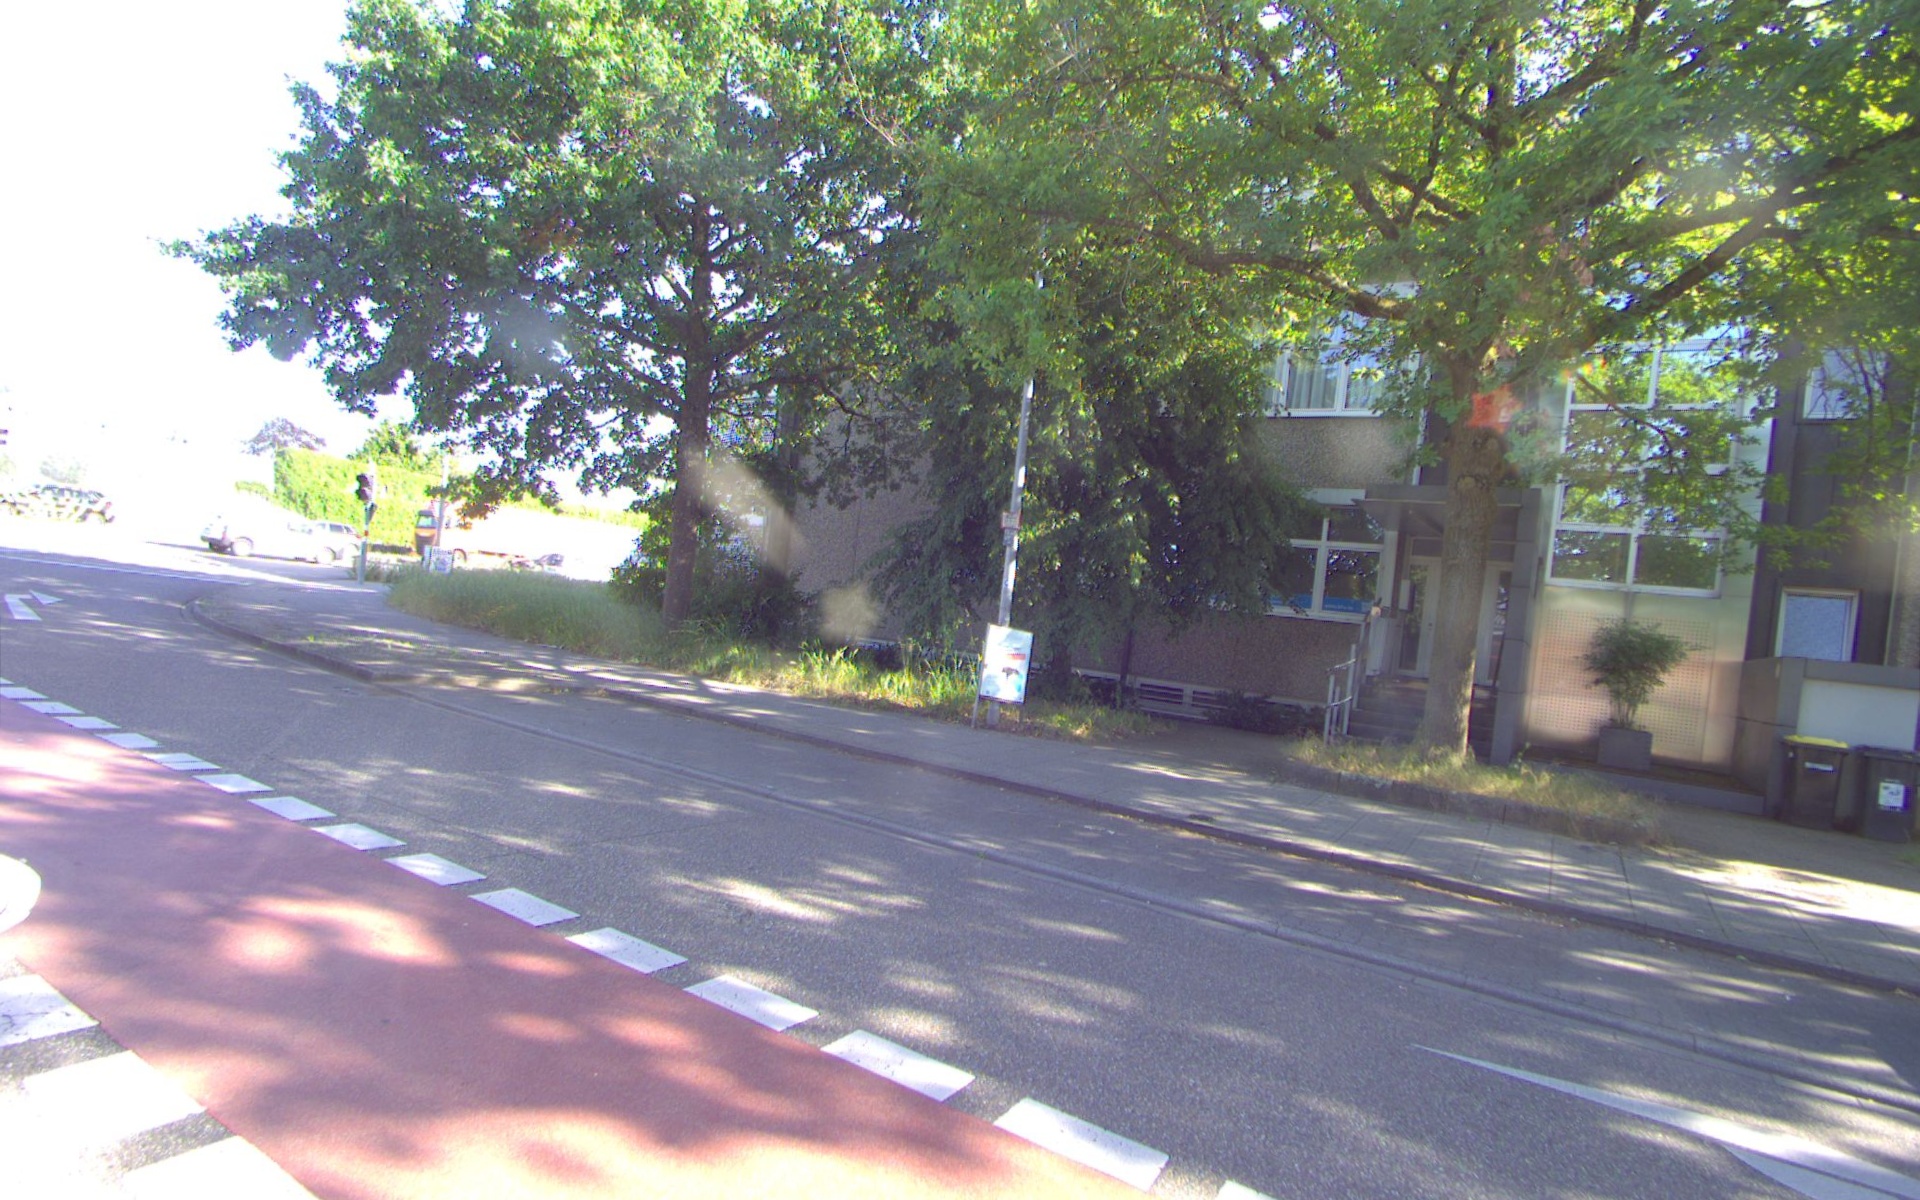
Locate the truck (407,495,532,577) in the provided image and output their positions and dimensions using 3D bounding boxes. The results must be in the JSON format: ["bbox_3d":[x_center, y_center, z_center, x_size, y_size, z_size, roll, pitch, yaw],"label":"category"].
[{"bbox_3d":[-29.781,-3.821,61.347,2.429,4.047,6.415,7,0,25],"label":"truck"}]

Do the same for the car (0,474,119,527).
[{"bbox_3d":[-33.834,-3.713,36.962,1.548,1.317,4.170,6,-2,28],"label":"car"}]

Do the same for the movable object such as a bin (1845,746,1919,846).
[{"bbox_3d":[10.801,2.265,11.711,0.566,1.019,0.629,6,-1,31],"label":"movable object such as a bin"}]

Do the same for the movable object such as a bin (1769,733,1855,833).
[{"bbox_3d":[10.187,2.168,12.049,0.571,1.045,0.713,7,0,31],"label":"movable object such as a bin"}]

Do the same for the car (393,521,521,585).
[{"bbox_3d":[-13.964,-1.254,28.131,1.433,1.311,3.412,6,-2,7],"label":"car"}]

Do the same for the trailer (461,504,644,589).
[{"bbox_3d":[-26.888,-3.347,67.556,2.426,4.079,12.767,7,-1,25],"label":"trailer"}]

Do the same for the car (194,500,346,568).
[{"bbox_3d":[-24.201,-2.280,35.437,1.433,1.823,4.117,6,-1,31],"label":"car"}]

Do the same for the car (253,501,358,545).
[{"bbox_3d":[-32.017,-3.733,49.352,1.538,1.458,3.999,6,-2,26],"label":"car"}]

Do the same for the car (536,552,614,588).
[{"bbox_3d":[-20.393,-1.563,53.427,1.565,1.503,3.679,6,-1,25],"label":"car"}]
